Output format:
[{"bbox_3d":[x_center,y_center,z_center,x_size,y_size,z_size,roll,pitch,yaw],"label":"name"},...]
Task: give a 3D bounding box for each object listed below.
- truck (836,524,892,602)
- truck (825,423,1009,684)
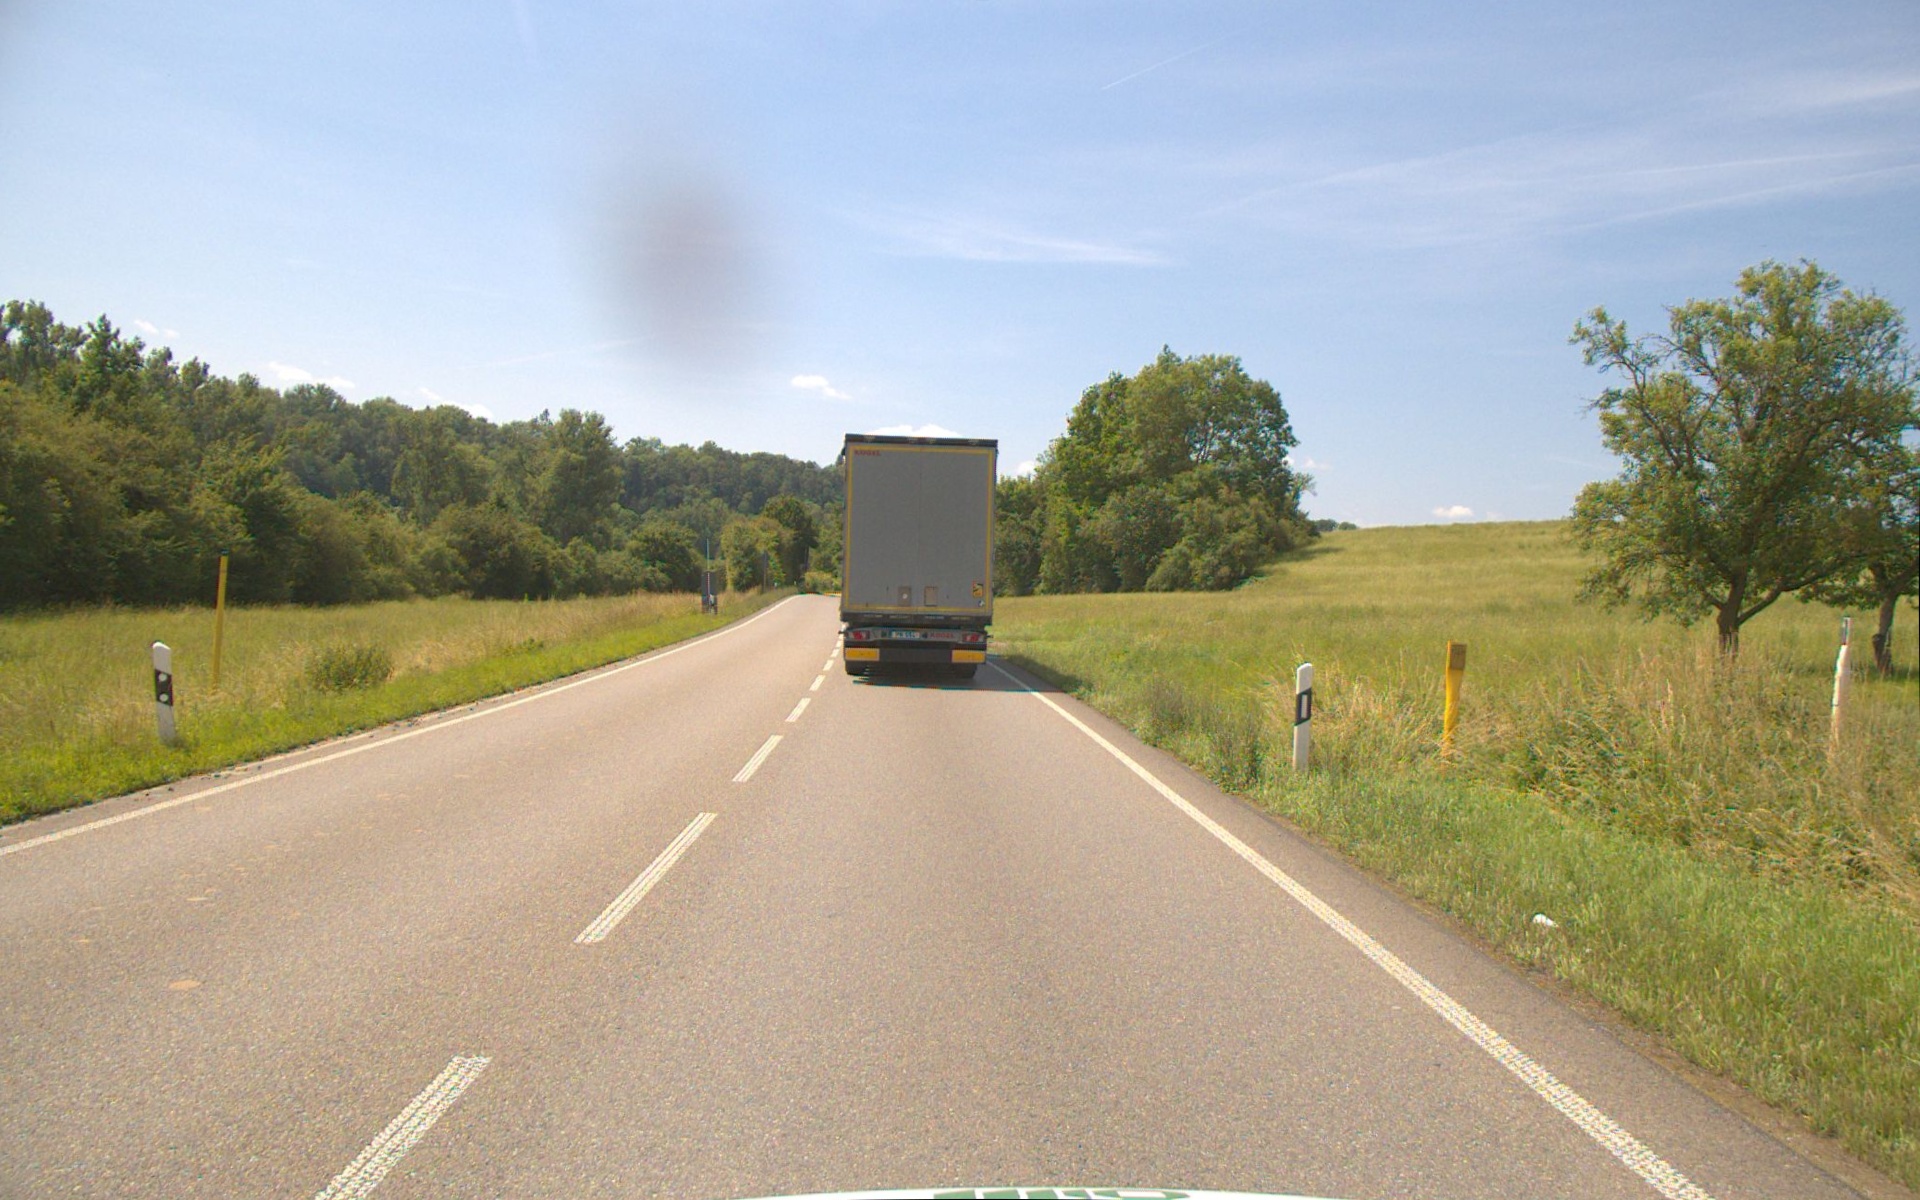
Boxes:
[{"bbox_3d":[-6.771,-2.752,114.137,3.045,4.786,16.572,0,3,-6],"label":"truck"},{"bbox_3d":[-1.316,-0.769,34.380,2.747,4.140,15.308,1,0,-5],"label":"truck"}]
